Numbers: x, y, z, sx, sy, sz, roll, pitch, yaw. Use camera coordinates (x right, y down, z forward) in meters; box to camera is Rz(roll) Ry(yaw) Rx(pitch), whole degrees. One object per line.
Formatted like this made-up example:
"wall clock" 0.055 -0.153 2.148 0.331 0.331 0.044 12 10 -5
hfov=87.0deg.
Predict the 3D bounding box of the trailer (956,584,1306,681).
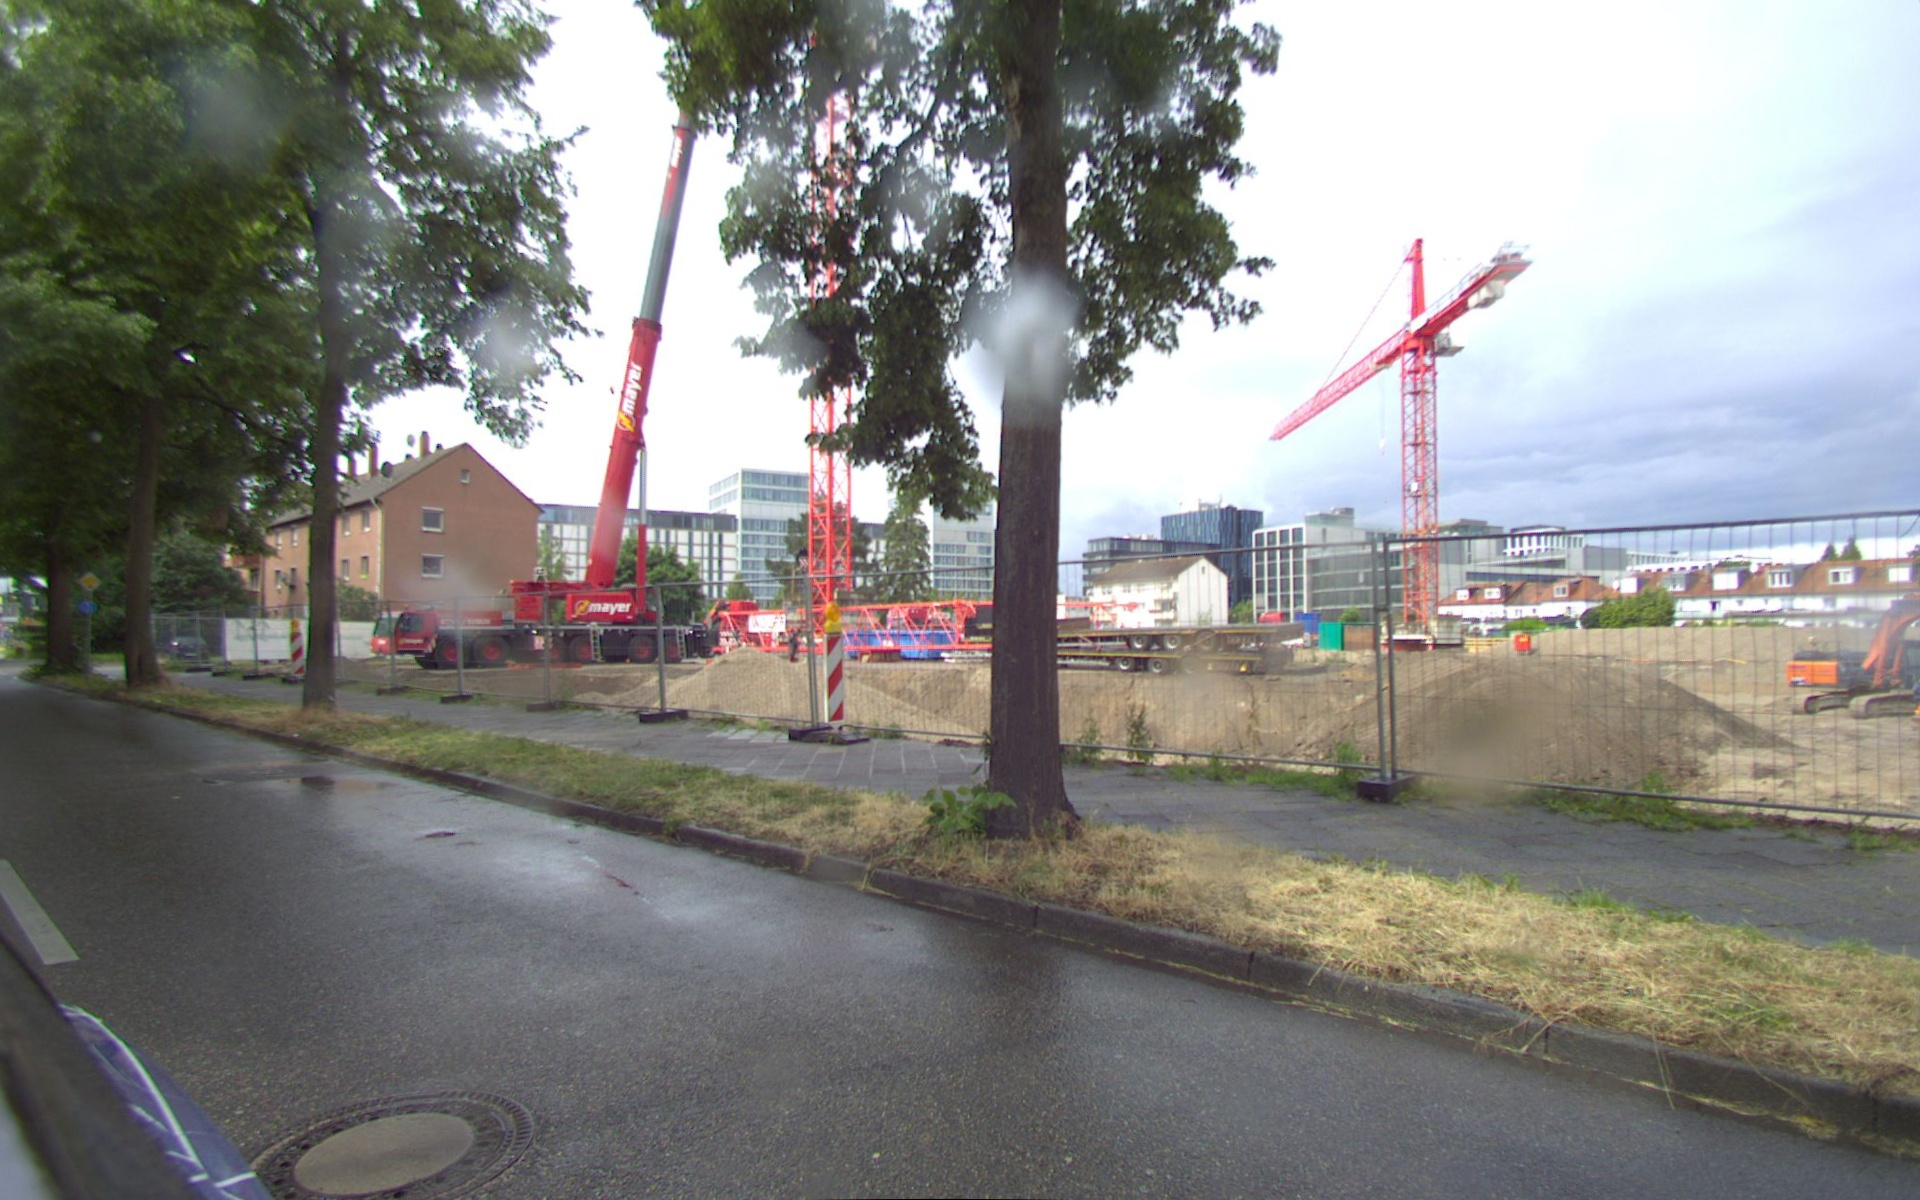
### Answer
"trailer" 6.220 1.207 40.426 14.302 3.257 2.930 -1 1 41

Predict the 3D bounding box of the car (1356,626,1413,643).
"car" 39.798 3.234 94.864 4.582 1.529 1.797 -1 0 44

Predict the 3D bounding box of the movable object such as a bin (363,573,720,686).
"movable object such as a bin" -19.051 1.181 48.051 3.102 4.593 15.727 -1 -1 44

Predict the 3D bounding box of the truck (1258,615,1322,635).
"truck" 34.697 2.624 106.452 6.292 2.095 1.884 -1 0 25

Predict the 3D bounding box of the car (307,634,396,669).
"car" -31.034 2.598 51.682 3.806 1.564 1.703 -1 0 -31

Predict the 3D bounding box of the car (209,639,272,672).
"car" -37.344 2.845 52.501 3.996 1.541 1.672 -1 0 39
